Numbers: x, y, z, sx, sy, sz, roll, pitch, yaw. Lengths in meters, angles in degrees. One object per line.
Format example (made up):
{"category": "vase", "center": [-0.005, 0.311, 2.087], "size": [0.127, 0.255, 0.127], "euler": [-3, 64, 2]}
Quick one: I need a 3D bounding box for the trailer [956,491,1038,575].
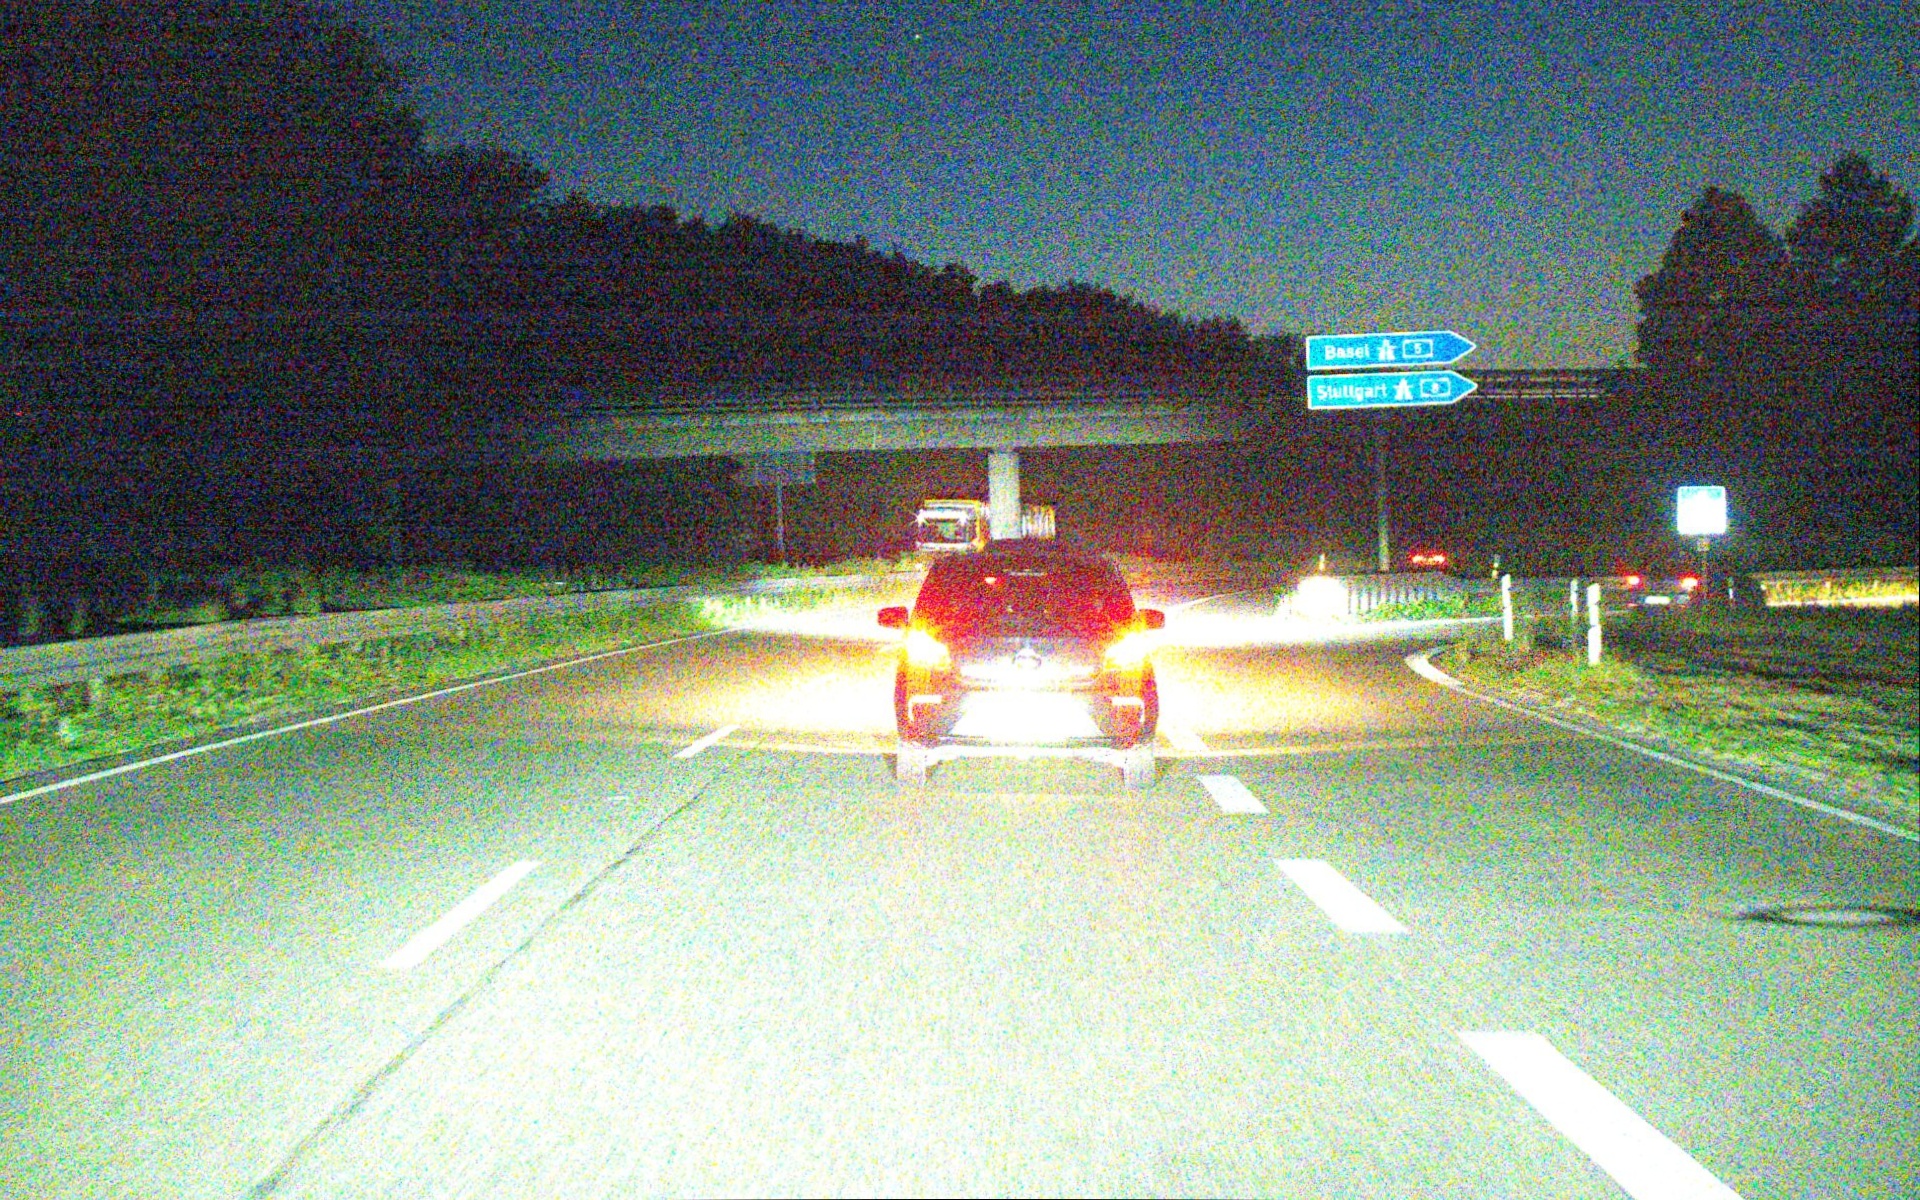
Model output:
{"category": "trailer", "center": [1.863, -3.294, 168.709], "size": [2.718, 3.943, 9.044], "euler": [-1, 1, 8]}

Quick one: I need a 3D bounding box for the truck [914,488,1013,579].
{"category": "truck", "center": [0.250, -3.066, 158.878], "size": [2.682, 4.030, 10.649], "euler": [-1, 1, 10]}

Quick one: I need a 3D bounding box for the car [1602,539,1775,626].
{"category": "car", "center": [15.829, -0.401, 74.543], "size": [1.936, 1.809, 4.255], "euler": [0, 1, 39]}

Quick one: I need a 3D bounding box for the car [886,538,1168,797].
{"category": "car", "center": [0.356, 0.365, 22.407], "size": [1.588, 1.503, 4.001], "euler": [1, 1, -2]}

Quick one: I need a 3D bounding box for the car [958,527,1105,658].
{"category": "car", "center": [0.952, -0.135, 46.953], "size": [1.906, 1.692, 4.000], "euler": [-1, 1, 1]}
